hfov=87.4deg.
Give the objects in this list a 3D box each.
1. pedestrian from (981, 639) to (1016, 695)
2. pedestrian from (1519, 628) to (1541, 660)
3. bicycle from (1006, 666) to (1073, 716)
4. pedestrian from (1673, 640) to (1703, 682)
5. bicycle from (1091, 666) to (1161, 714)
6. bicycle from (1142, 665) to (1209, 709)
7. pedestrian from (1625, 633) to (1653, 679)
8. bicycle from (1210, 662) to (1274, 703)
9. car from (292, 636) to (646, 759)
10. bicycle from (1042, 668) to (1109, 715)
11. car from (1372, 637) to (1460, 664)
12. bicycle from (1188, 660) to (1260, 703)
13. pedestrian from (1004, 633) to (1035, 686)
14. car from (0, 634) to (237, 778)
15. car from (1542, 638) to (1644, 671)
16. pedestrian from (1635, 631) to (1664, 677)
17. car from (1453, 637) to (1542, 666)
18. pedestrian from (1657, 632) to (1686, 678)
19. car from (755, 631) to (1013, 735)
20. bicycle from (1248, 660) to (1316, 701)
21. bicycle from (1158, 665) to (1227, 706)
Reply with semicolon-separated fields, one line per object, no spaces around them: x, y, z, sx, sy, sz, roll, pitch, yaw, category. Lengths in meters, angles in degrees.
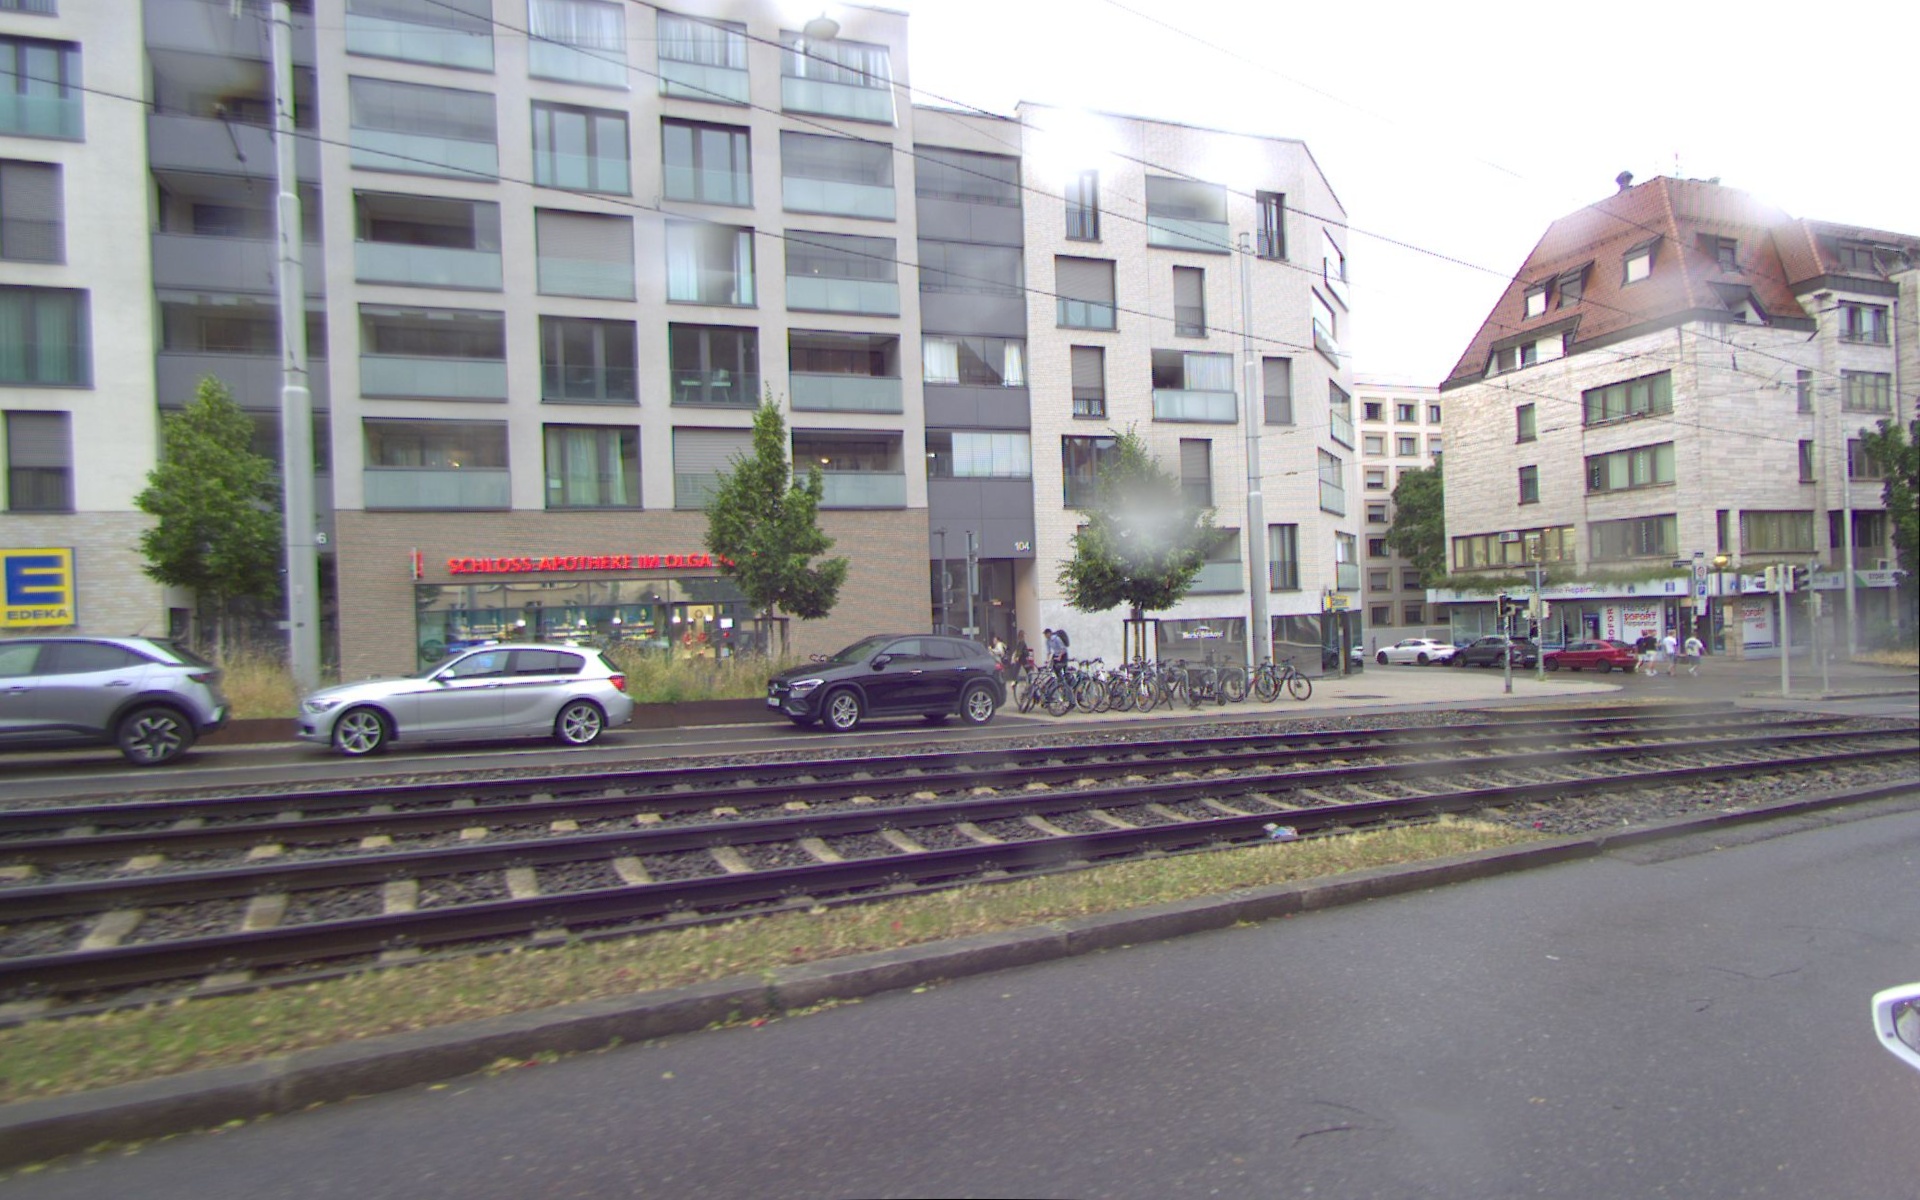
1.055;1.826;27.477;0.790;1.468;0.539;2;0;-18;pedestrian
28.806;2.214;50.742;0.640;1.569;0.680;2;0;-21;pedestrian
1.646;1.891;21.120;0.383;0.930;1.773;2;-2;-33;bicycle
27.869;2.327;38.475;0.674;1.569;0.646;2;0;-21;pedestrian
3.578;1.936;21.819;0.383;0.930;1.773;2;-1;-33;bicycle
4.998;2.001;23.369;0.383;0.930;1.773;2;-2;-33;bicycle
28.054;2.321;41.501;0.674;1.867;0.646;2;0;-21;pedestrian
7.059;2.055;25.222;0.383;0.888;1.774;2;-1;-31;bicycle
-6.842;1.294;14.267;4.280;1.484;1.671;2;-1;-31;car
2.465;1.939;21.548;0.383;0.929;1.773;2;-3;-33;bicycle
24.019;2.653;53.105;1.570;1.335;4.482;2;-2;-20;car
6.525;1.998;24.882;1.764;0.930;0.385;1;-1;44;bicycle
1.824;1.802;30.775;0.637;1.590;0.775;-1;-1;33;pedestrian
-10.985;1.194;11.772;4.010;1.550;1.669;2;-1;-35;car
27.432;2.343;43.671;1.567;1.335;3.696;1;-2;-14;car
27.477;2.156;40.034;0.674;1.772;0.646;2;0;-21;pedestrian
25.772;2.459;48.242;1.570;1.335;3.689;2;-2;-20;car
27.792;2.140;39.241;0.674;1.747;0.646;2;0;-21;pedestrian
-1.293;1.394;17.815;4.280;1.625;1.671;2;-1;-31;car
8.213;2.037;25.677;0.436;0.993;1.773;2;-3;-33;bicycle
5.545;2.027;24.079;0.384;0.929;1.770;2;-3;-38;bicycle
